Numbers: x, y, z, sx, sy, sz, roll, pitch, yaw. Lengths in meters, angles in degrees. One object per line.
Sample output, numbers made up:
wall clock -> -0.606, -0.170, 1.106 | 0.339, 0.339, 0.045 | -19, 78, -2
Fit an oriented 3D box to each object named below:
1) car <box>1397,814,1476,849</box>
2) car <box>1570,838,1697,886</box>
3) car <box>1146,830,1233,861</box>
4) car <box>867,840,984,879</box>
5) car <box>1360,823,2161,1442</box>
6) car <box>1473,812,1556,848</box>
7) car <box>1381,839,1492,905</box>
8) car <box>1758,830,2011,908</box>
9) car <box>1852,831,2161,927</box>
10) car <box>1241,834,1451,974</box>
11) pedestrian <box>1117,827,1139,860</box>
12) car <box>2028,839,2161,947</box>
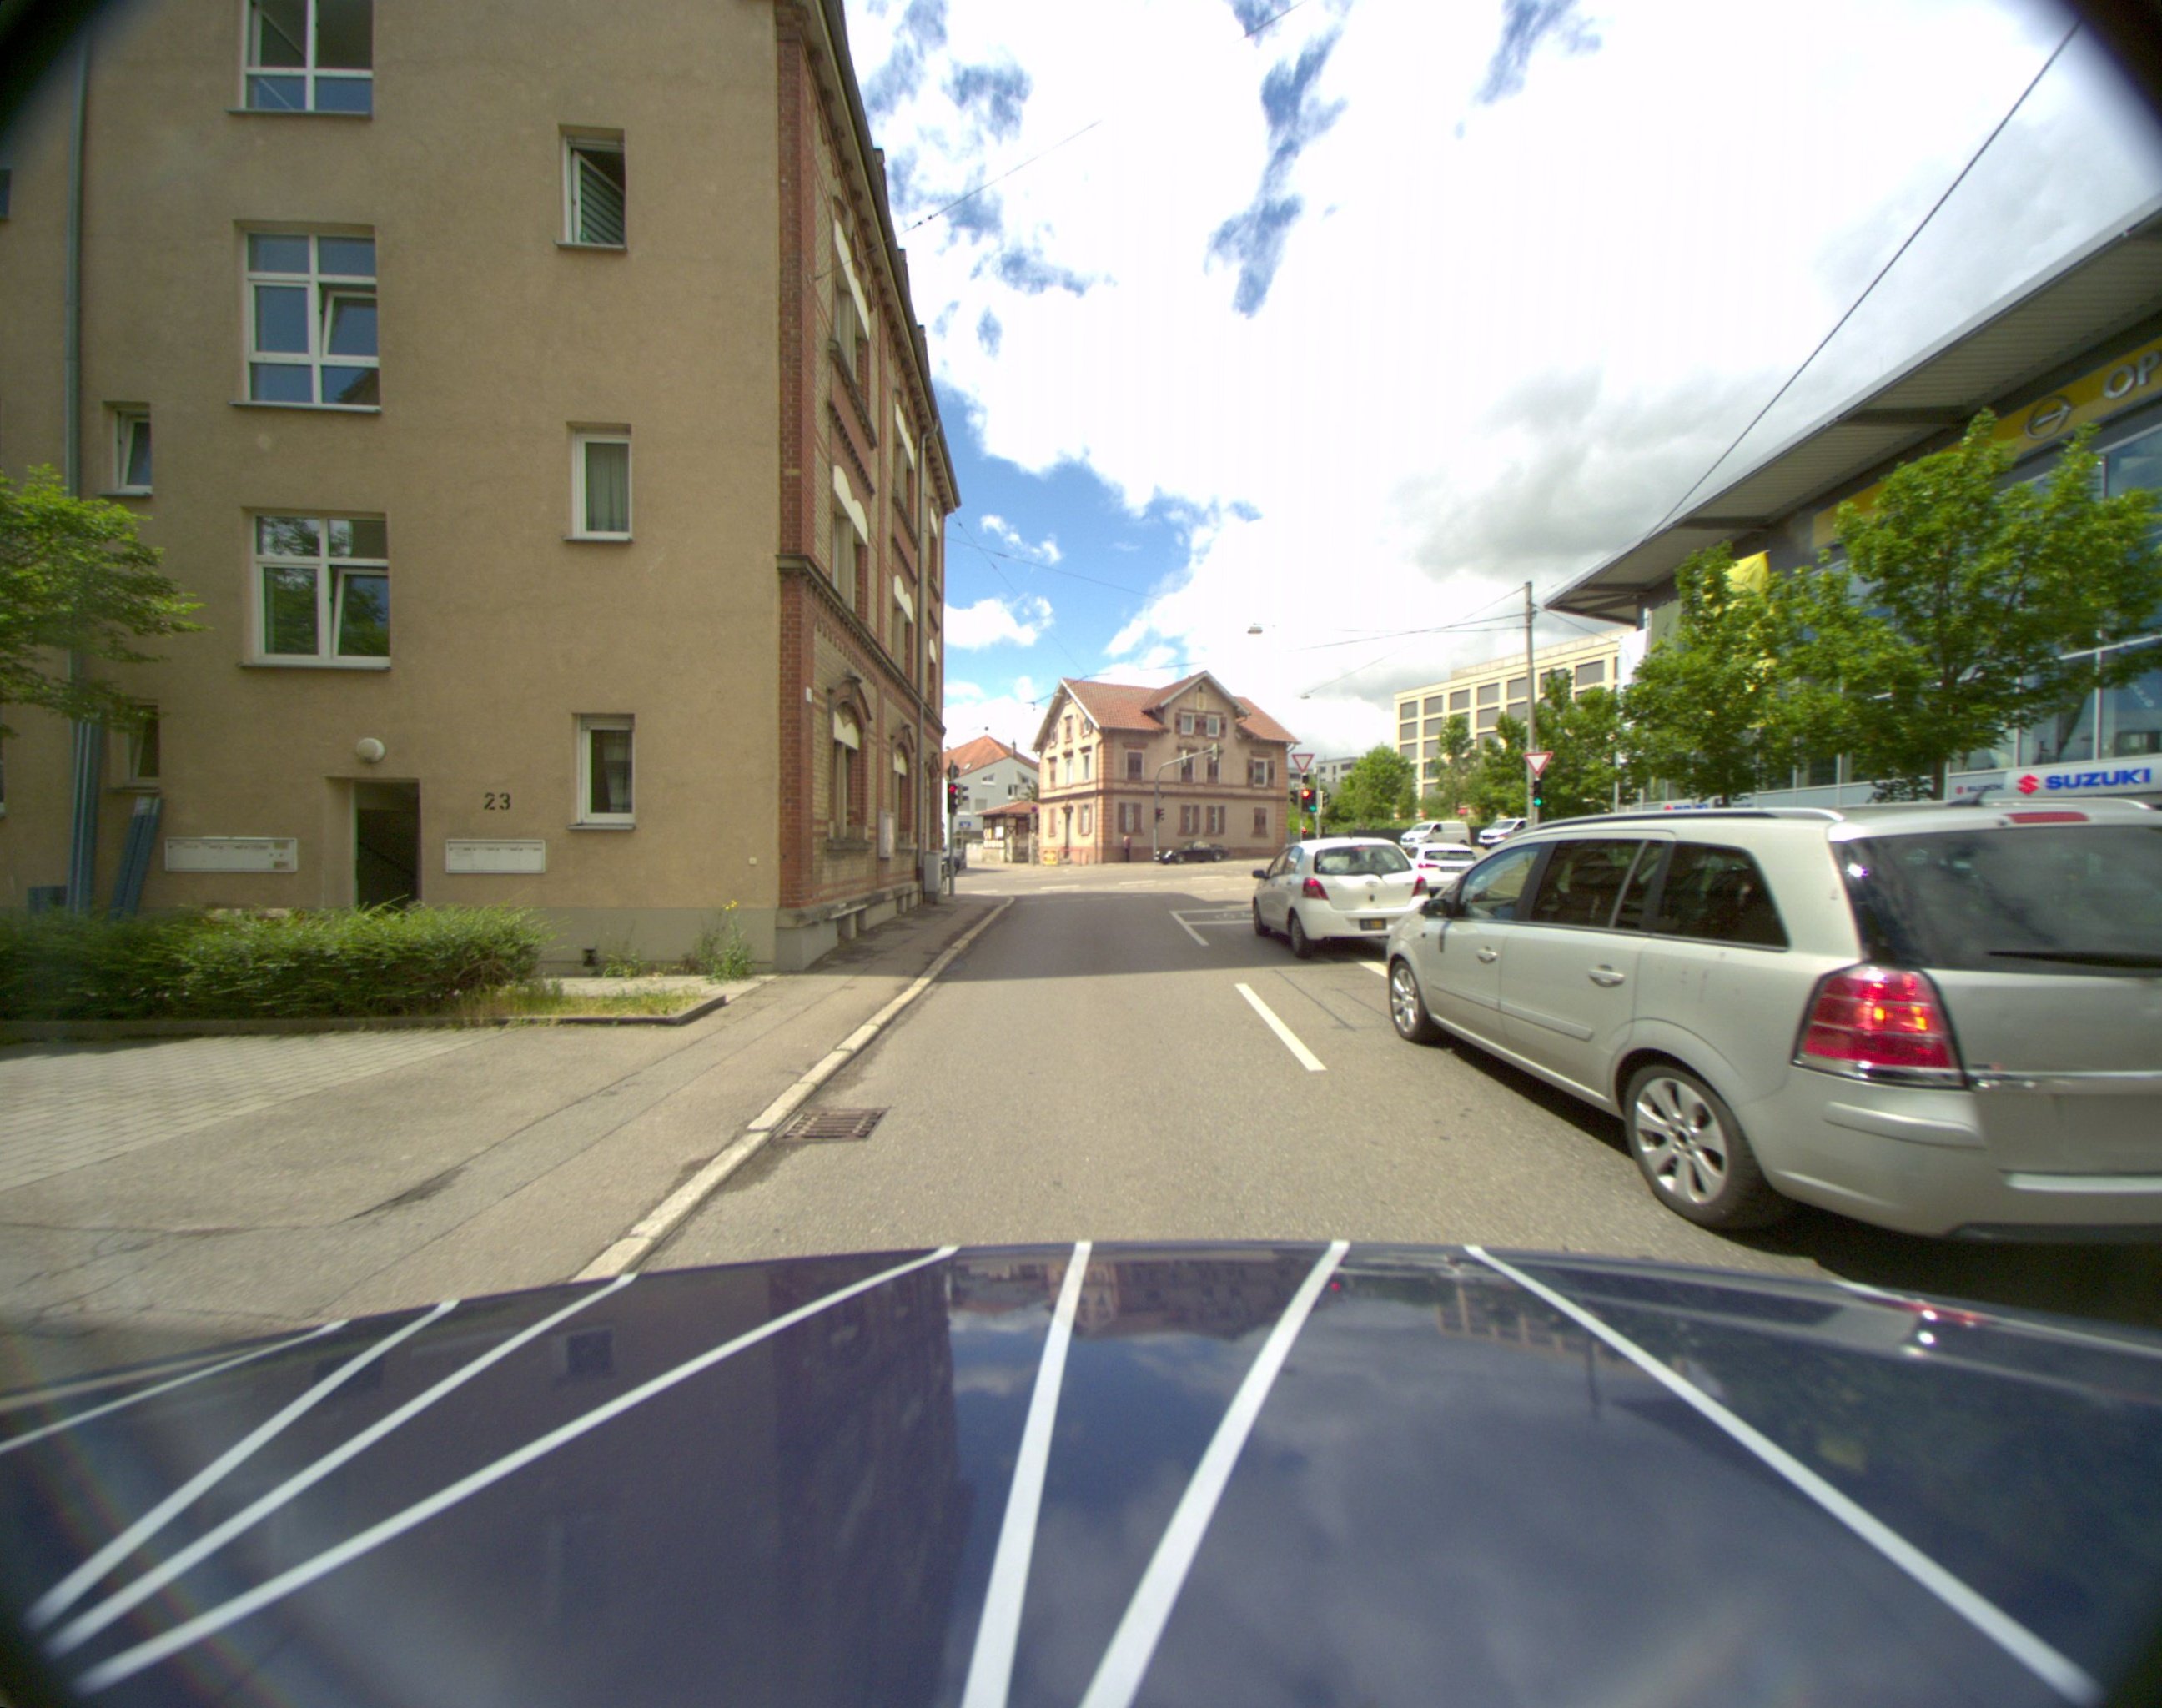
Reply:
car -> 23.367, -1.458, 49.964 | 4.821, 2.000, 1.996 | -4, 2, -24
car -> 19.434, 0.220, 26.974 | 1.946, 1.466, 4.308 | -2, 2, 10
car -> 6.046, -0.491, 42.170 | 4.335, 1.458, 1.996 | -4, 2, -25
car -> -7.431, 0.229, 36.348 | 5.104, 1.569, 1.996 | -2, 1, -25
car -> 3.082, 0.671, 4.087 | 1.723, 1.572, 4.318 | -2, 1, 3
car -> 27.529, -1.520, 48.209 | 4.995, 1.982, 1.996 | -4, 2, -25
car -> 9.447, 0.385, 20.555 | 1.721, 1.488, 4.466 | 2, 2, 12
car -> 18.382, 0.261, 17.707 | 1.946, 1.554, 3.996 | -2, 2, 7
car -> 15.940, 0.391, 12.774 | 3.996, 1.489, 1.813 | 0, 0, 3
car -> 3.490, 0.528, 10.812 | 1.723, 1.572, 4.000 | -2, 2, 3
pedestrian -> 2.737, -0.632, 44.267 | 1.048, 1.854, 0.723 | -4, 2, -13
car -> 15.940, 0.511, 10.183 | 4.076, 1.386, 1.813 | 0, 0, 3
